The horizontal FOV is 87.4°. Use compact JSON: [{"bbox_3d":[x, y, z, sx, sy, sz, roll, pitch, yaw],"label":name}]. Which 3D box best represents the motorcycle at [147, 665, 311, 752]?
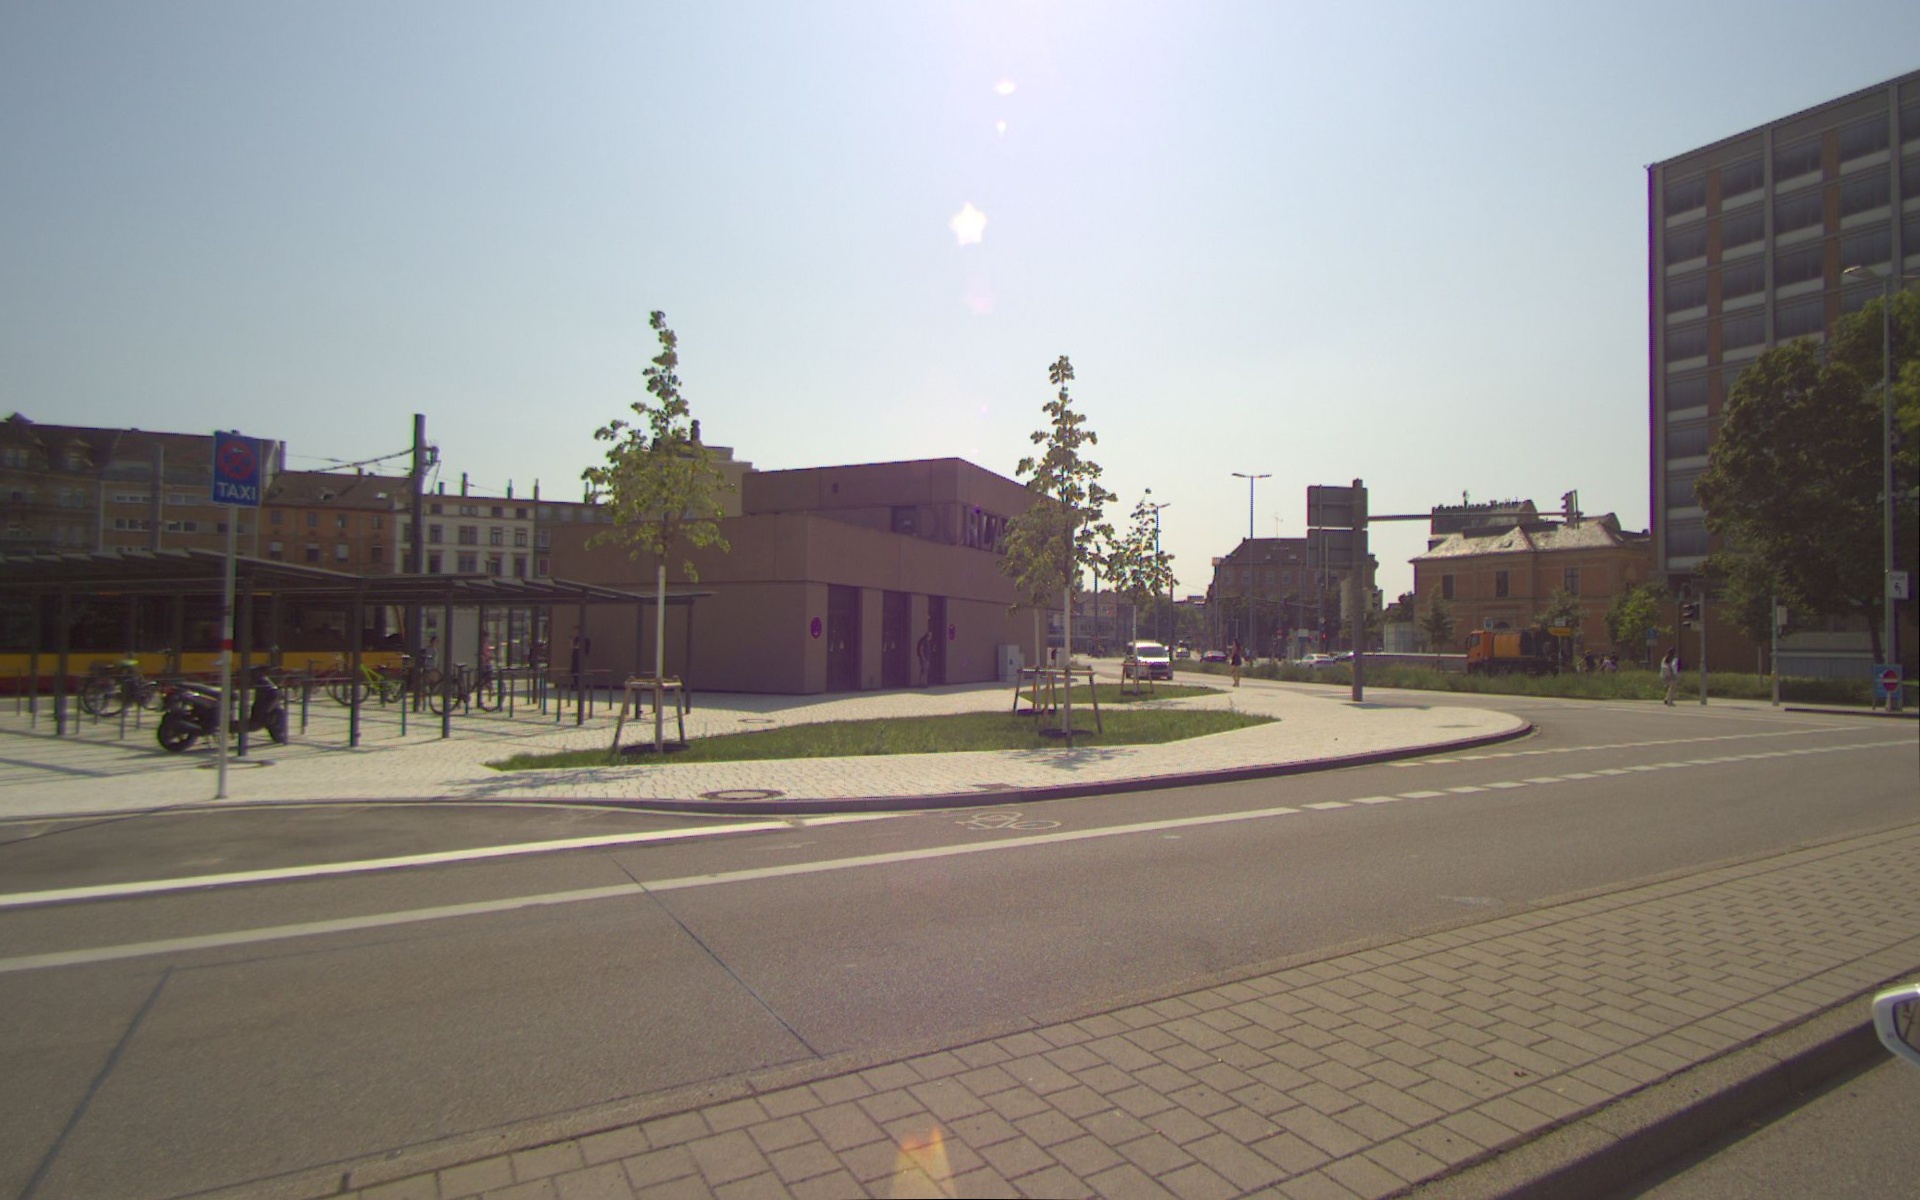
[{"bbox_3d":[-9.976,1.449,13.794,0.482,1.083,1.777,-1,-3,27],"label":"motorcycle"}]

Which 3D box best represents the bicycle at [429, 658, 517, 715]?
[{"bbox_3d":[-9.709,1.706,20.101,0.503,1.054,1.735,0,-2,18],"label":"bicycle"}]

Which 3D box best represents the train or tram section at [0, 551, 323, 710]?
[{"bbox_3d":[-22.022,0.823,26.710,3.102,3.645,8.241,-1,-2,24],"label":"train or tram section"}]

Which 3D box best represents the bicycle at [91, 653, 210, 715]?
[{"bbox_3d":[-14.632,1.493,18.206,0.405,1.054,1.639,-1,-3,27],"label":"bicycle"}]

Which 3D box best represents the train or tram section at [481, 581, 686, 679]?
[{"bbox_3d":[-15.313,1.261,41.687,3.085,3.616,8.240,-2,-2,24],"label":"train or tram section"}]

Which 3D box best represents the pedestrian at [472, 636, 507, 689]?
[{"bbox_3d":[-12.977,1.722,27.708,0.436,1.429,0.744,0,-2,28],"label":"pedestrian"}]

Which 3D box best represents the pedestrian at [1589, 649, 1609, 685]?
[{"bbox_3d":[36.479,3.802,57.361,0.764,1.999,0.754,1,-2,12],"label":"pedestrian"}]

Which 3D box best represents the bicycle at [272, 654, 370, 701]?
[{"bbox_3d":[-14.201,1.702,22.379,0.503,0.998,1.856,-1,-2,23],"label":"bicycle"}]

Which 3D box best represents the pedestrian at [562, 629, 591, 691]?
[{"bbox_3d":[-10.583,1.644,27.740,0.435,1.700,0.568,0,-2,24],"label":"pedestrian"}]

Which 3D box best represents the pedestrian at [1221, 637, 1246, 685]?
[{"bbox_3d":[9.915,2.209,36.393,0.616,1.725,0.786,1,-2,-10],"label":"pedestrian"}]

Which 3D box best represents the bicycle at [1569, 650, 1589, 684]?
[{"bbox_3d":[35.314,3.809,57.316,0.447,1.884,1.364,1,-2,10],"label":"bicycle"}]

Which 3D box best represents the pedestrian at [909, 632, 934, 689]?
[{"bbox_3d":[-1.157,1.819,30.204,0.558,1.700,0.536,0,-2,24],"label":"pedestrian"}]

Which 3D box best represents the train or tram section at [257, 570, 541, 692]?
[{"bbox_3d":[-18.655,1.055,34.207,3.085,3.616,8.240,-2,-2,24],"label":"train or tram section"}]

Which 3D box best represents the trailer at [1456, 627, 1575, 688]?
[{"bbox_3d":[30.393,3.102,55.277,2.425,3.047,6.320,3,-2,-7],"label":"trailer"}]

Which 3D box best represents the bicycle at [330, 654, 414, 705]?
[{"bbox_3d":[-12.694,1.697,21.744,0.503,1.054,1.736,0,-2,12],"label":"bicycle"}]

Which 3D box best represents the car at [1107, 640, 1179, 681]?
[{"bbox_3d":[9.075,2.978,50.106,1.966,1.884,4.324,-1,-2,-13],"label":"car"}]

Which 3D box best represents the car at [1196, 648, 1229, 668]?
[{"bbox_3d":[19.838,4.534,79.011,1.728,1.422,3.983,2,-2,2],"label":"car"}]

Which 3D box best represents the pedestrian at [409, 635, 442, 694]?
[{"bbox_3d":[-13.323,1.603,25.050,0.660,1.429,0.440,2,-2,-32],"label":"pedestrian"}]

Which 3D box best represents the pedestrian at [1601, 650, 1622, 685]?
[{"bbox_3d":[37.455,3.861,57.757,0.764,1.999,0.754,1,-2,12],"label":"pedestrian"}]

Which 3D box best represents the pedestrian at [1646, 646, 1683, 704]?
[{"bbox_3d":[20.975,2.228,29.912,0.688,1.717,0.606,1,-2,-13],"label":"pedestrian"}]

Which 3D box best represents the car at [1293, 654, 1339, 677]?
[{"bbox_3d":[26.184,4.799,73.982,1.729,1.474,4.426,2,-2,-1],"label":"car"}]
